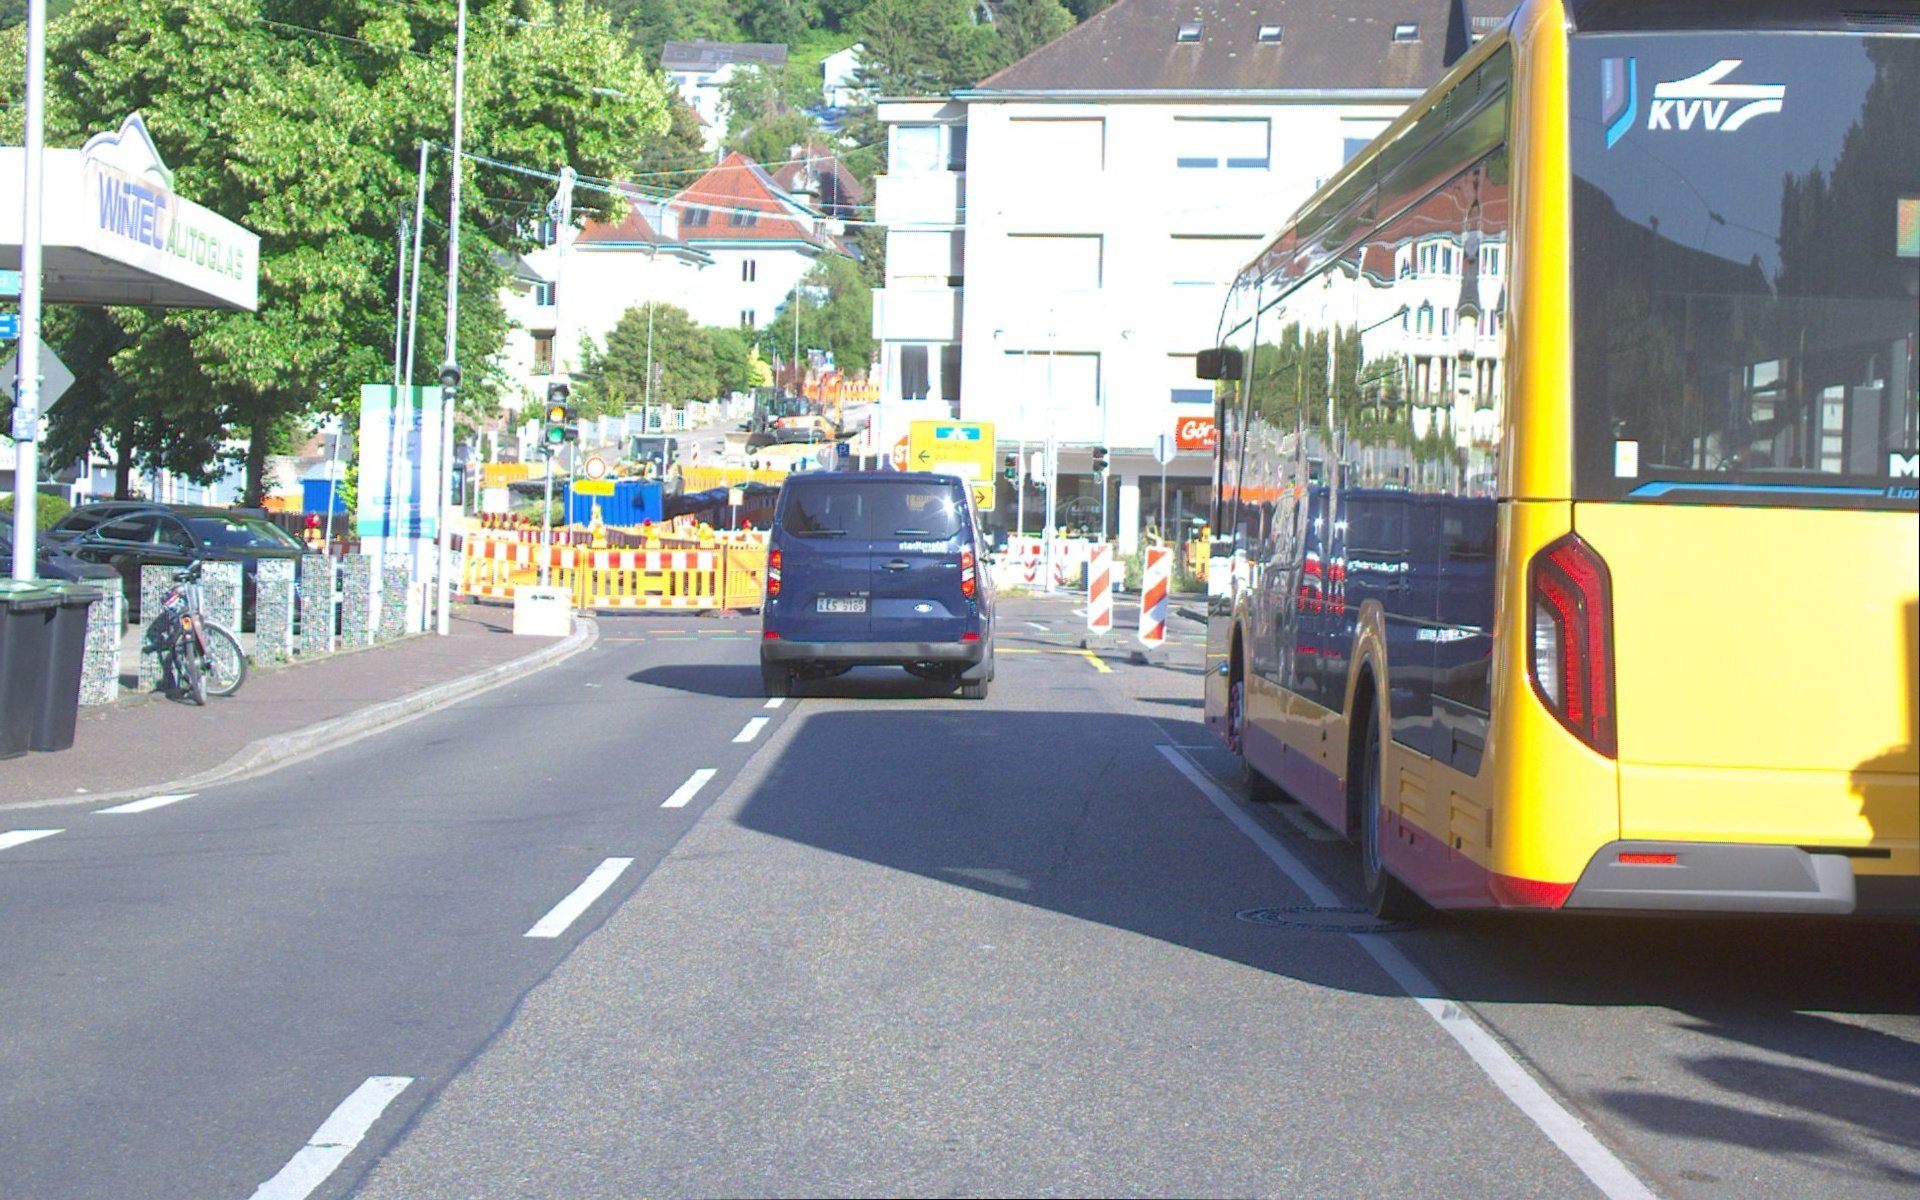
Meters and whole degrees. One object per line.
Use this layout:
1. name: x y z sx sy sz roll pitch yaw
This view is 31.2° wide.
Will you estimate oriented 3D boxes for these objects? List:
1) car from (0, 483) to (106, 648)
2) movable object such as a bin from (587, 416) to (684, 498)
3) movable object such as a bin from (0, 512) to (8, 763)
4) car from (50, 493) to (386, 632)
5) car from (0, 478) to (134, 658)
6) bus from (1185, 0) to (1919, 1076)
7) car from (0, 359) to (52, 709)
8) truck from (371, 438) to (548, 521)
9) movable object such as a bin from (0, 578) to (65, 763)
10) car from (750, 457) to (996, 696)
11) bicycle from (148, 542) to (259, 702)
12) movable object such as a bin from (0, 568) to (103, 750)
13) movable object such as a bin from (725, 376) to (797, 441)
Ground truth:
1. car: -10.010 -0.355 32.602 1.620 1.563 3.386 2 1 39
2. movable object such as a bin: -11.084 -4.866 117.593 2.192 2.681 3.998 2 1 11
3. movable object such as a bin: -6.396 0.225 19.956 1.056 1.477 1.310 4 5 28
4. car: -8.928 -0.467 41.156 1.906 1.449 4.311 1 2 -44
5. car: -9.158 -0.309 30.105 1.621 1.563 3.385 3 1 43
6. bus: 2.830 -0.482 15.898 2.688 3.404 12.019 1 1 0
7. car: -9.200 -0.556 24.390 5.054 2.461 2.109 2 1 -22
8. truck: -15.493 -3.717 107.143 2.357 2.407 9.147 2 1 12
9. movable object such as a bin: -5.928 0.414 20.988 0.660 1.059 0.585 4 3 12
10. car: -0.746 -0.238 31.461 2.062 2.007 5.000 0 1 0
11. bicycle: -5.856 0.151 26.690 0.723 1.174 1.781 1 1 -9
12. movable object such as a bin: -5.819 0.362 21.601 0.640 1.065 0.580 2 4 12
13. movable object such as a bin: -8.795 -8.463 152.047 2.192 2.681 3.998 2 1 11
